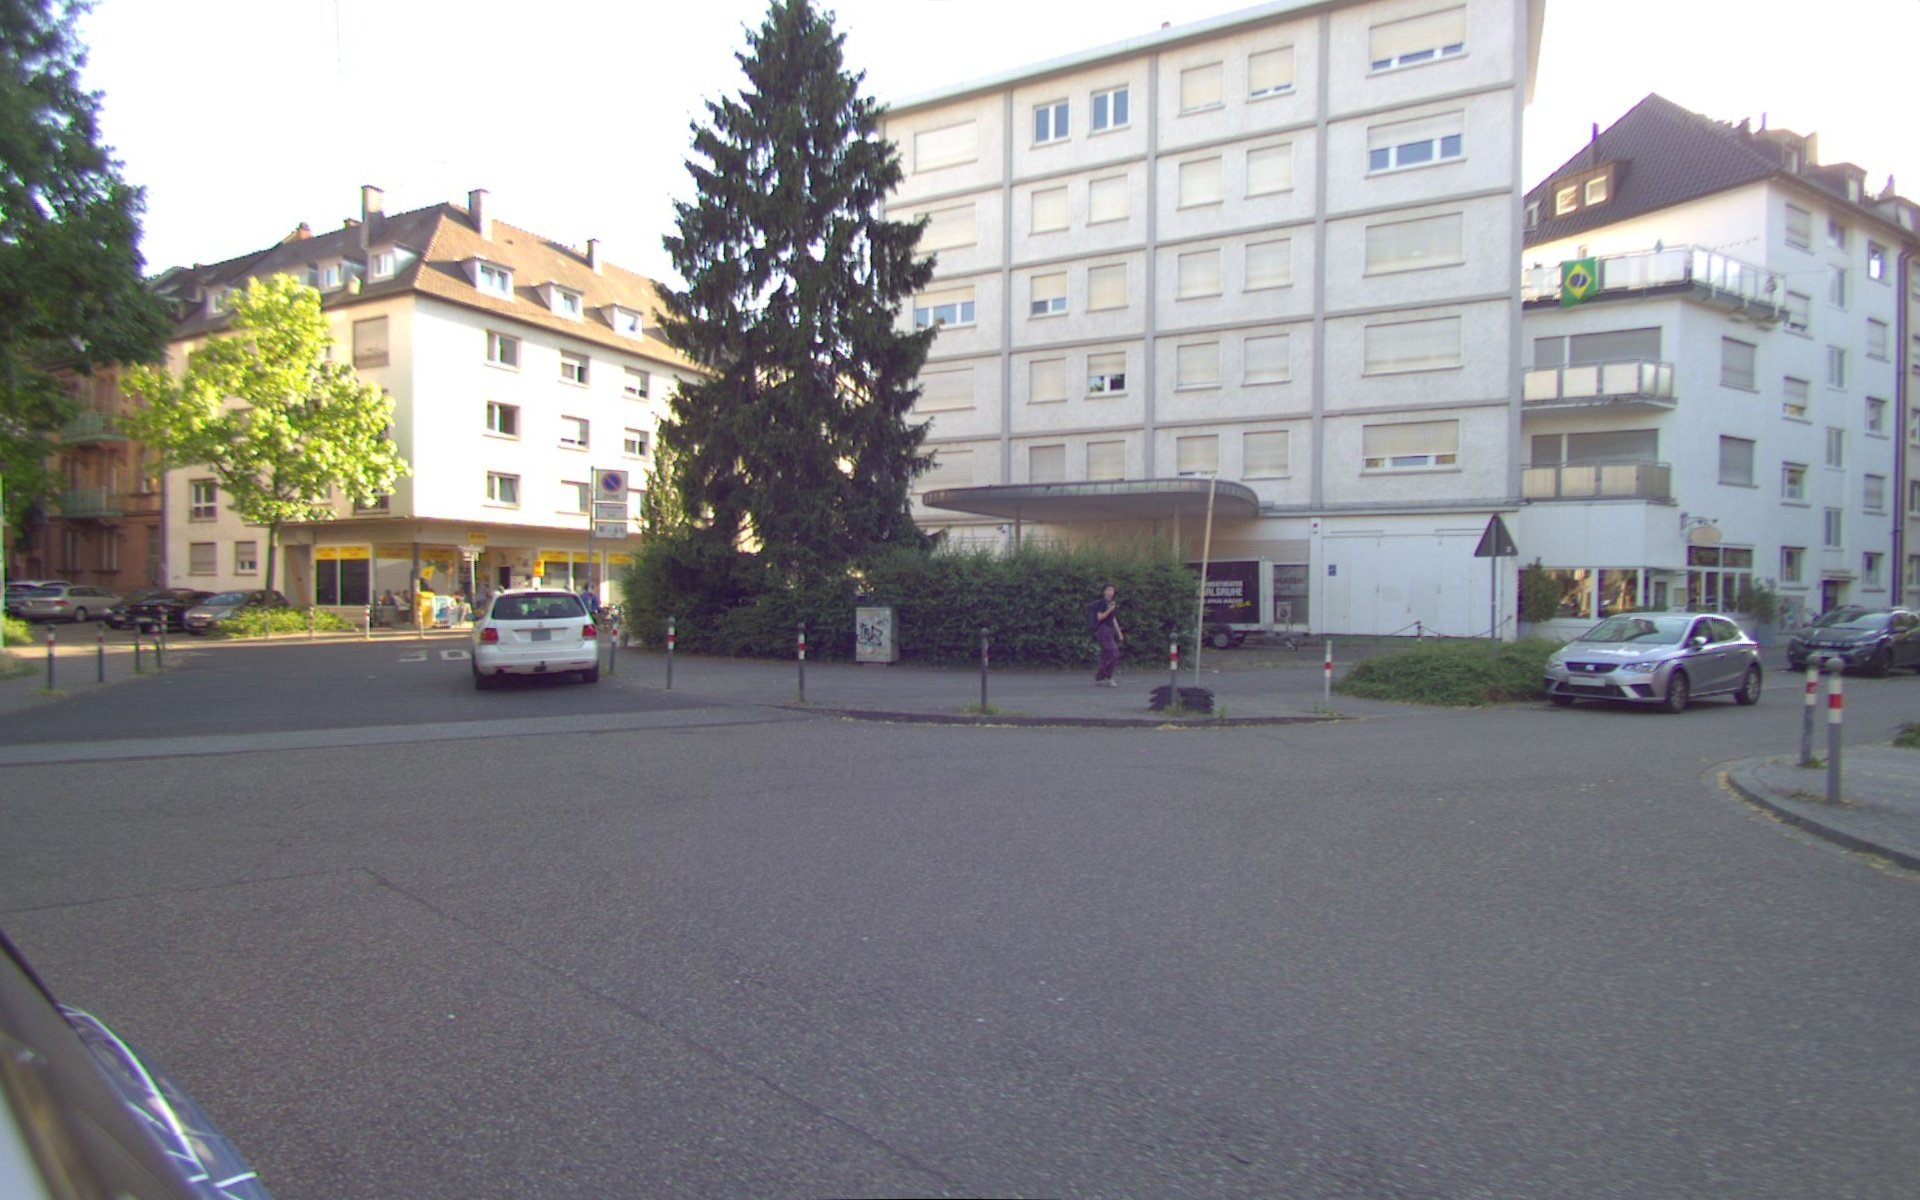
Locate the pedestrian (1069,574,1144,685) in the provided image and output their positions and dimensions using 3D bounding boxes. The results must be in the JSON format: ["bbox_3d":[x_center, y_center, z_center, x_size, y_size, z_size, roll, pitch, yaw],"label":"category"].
[{"bbox_3d":[2.385,0.452,16.571,0.856,1.749,0.833,0,2,-30],"label":"pedestrian"}]

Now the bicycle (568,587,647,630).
[{"bbox_3d":[-13.413,0.293,38.453,3.367,1.456,0.872,3,1,30],"label":"bicycle"}]

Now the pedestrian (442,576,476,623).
[{"bbox_3d":[-20.250,-0.028,40.917,0.848,1.889,0.883,0,0,27],"label":"pedestrian"}]

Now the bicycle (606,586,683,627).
[{"bbox_3d":[-12.536,0.225,40.126,3.367,1.456,0.872,3,1,30],"label":"bicycle"}]

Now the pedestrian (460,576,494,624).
[{"bbox_3d":[-19.356,0.005,40.574,0.848,1.889,0.883,0,0,27],"label":"pedestrian"}]

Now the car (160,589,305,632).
[{"bbox_3d":[-25.304,0.317,35.397,1.853,1.410,3.988,0,0,10],"label":"car"}]

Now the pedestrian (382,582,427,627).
[{"bbox_3d":[-21.285,0.155,38.770,0.959,1.679,1.204,0,0,28],"label":"pedestrian"}]

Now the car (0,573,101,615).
[{"bbox_3d":[-38.408,-0.244,42.212,1.846,1.648,4.002,0,0,-2],"label":"car"}]

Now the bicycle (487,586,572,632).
[{"bbox_3d":[-14.887,0.287,34.959,3.367,1.456,0.872,1,1,31],"label":"bicycle"}]

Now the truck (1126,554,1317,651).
[{"bbox_3d":[7.405,0.042,28.753,4.948,2.554,1.982,0,0,28],"label":"truck"}]

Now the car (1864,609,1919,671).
[{"bbox_3d":[24.781,0.967,25.422,3.931,1.457,1.722,0,-1,-26],"label":"car"}]

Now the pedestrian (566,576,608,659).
[{"bbox_3d":[-9.282,0.419,25.185,0.848,2.029,0.989,0,0,-29],"label":"pedestrian"}]

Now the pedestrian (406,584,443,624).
[{"bbox_3d":[-21.200,0.157,40.073,0.887,1.581,0.955,0,0,28],"label":"pedestrian"}]

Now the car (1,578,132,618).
[{"bbox_3d":[-35.676,-0.102,40.567,1.846,1.516,4.002,0,0,-2],"label":"car"}]

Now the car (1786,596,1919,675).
[{"bbox_3d":[20.960,0.763,23.328,3.932,1.686,1.721,0,-1,-31],"label":"car"}]

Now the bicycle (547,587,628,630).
[{"bbox_3d":[-13.881,0.294,37.668,3.367,1.456,0.872,3,1,30],"label":"bicycle"}]

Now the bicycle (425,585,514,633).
[{"bbox_3d":[-15.895,0.266,32.764,3.367,1.456,0.872,1,1,31],"label":"bicycle"}]

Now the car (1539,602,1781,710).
[{"bbox_3d":[10.854,0.780,15.630,3.933,1.457,1.721,0,-1,-33],"label":"car"}]

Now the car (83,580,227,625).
[{"bbox_3d":[-30.200,0.065,38.112,1.854,1.580,3.984,0,0,12],"label":"car"}]

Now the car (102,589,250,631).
[{"bbox_3d":[-27.698,0.311,35.931,1.853,1.410,3.988,0,0,10],"label":"car"}]

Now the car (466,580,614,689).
[{"bbox_3d":[-6.766,0.443,16.048,1.890,1.461,4.310,-1,1,-26],"label":"car"}]

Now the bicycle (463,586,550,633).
[{"bbox_3d":[-15.203,0.294,33.900,3.367,1.456,0.872,1,1,31],"label":"bicycle"}]

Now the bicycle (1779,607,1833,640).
[{"bbox_3d":[26.922,0.741,32.190,2.138,1.011,0.535,0,1,-28],"label":"bicycle"}]
